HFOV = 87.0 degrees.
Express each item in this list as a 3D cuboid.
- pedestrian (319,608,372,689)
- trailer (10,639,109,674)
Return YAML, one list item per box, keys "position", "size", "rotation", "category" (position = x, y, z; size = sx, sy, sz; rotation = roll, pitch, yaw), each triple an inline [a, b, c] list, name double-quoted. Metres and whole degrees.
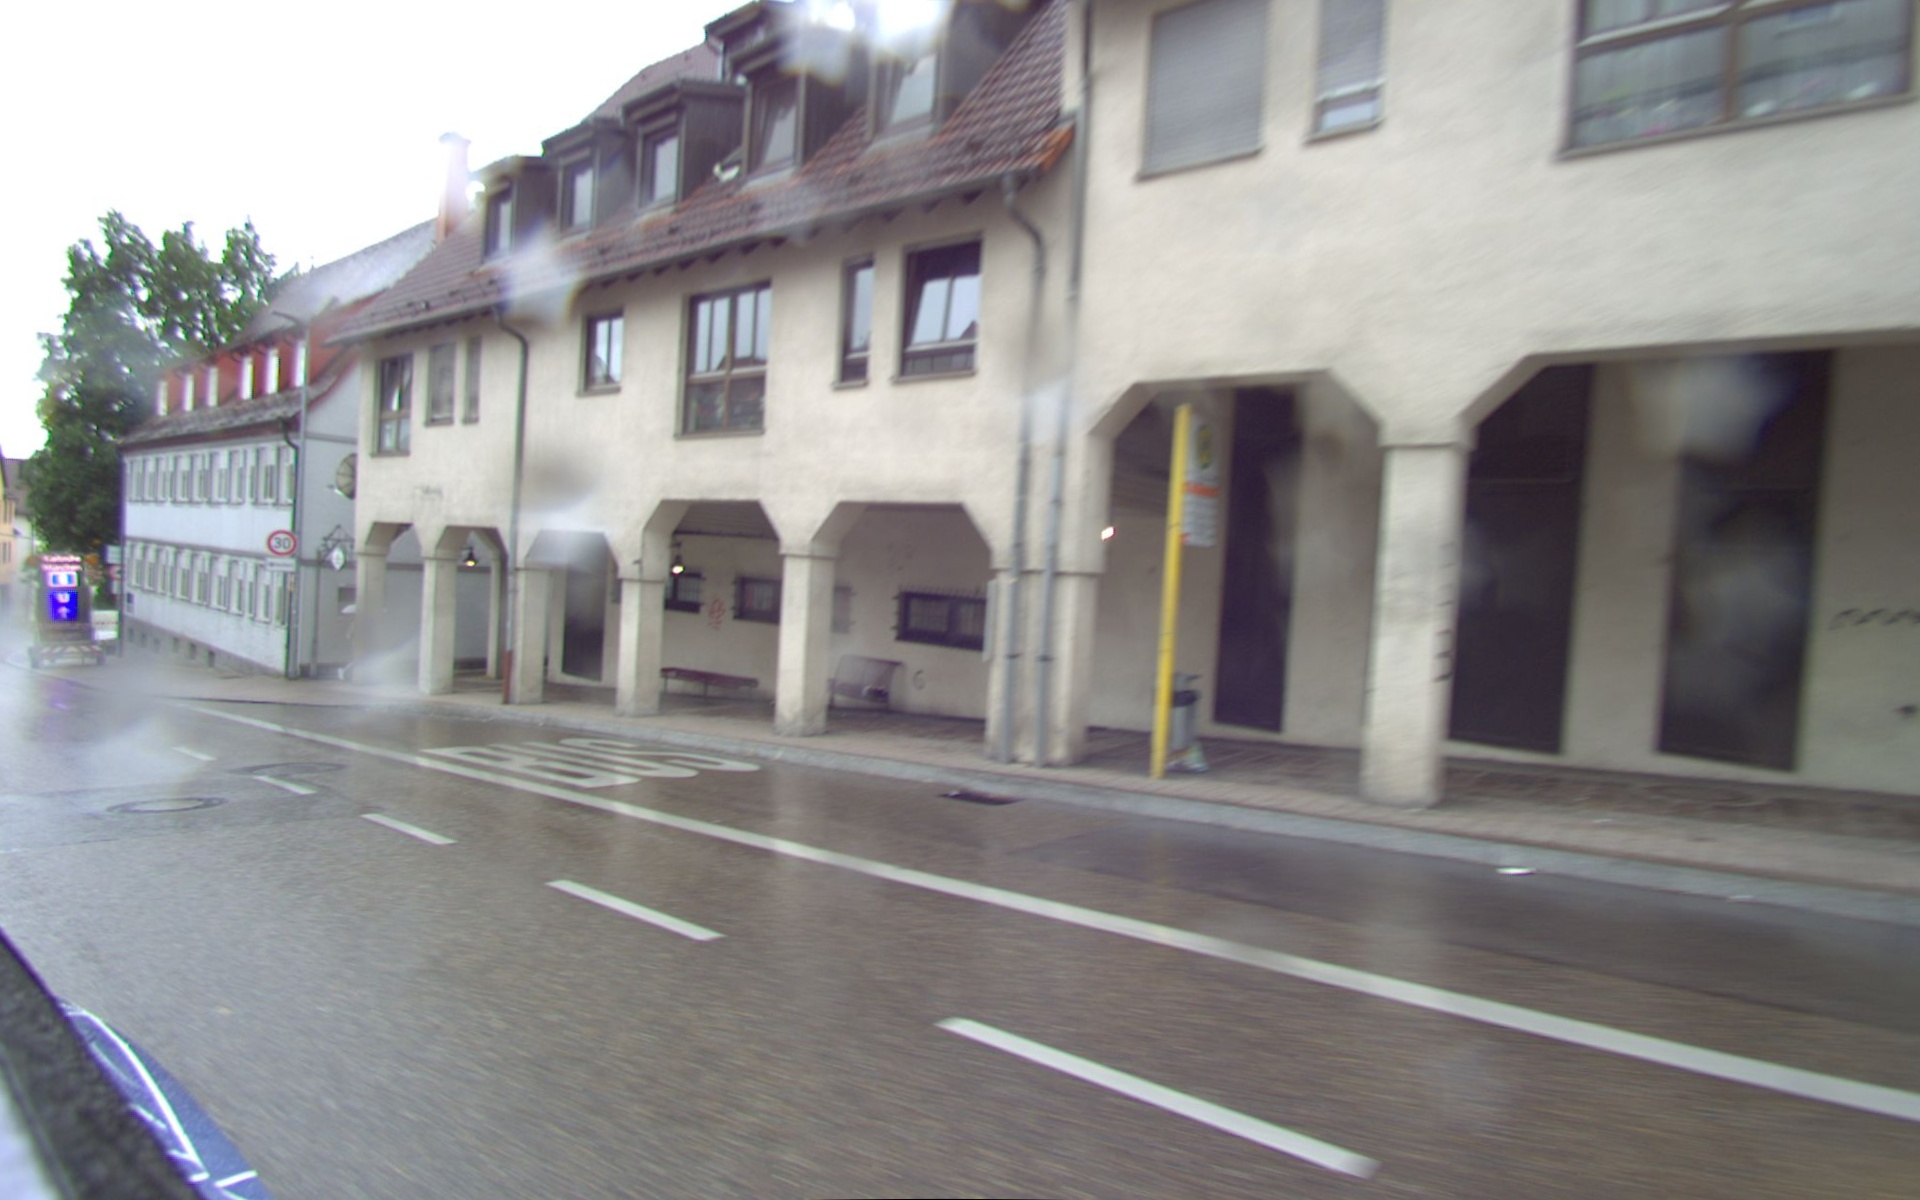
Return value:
- position: [-13.717, 1.073, 22.608]
  size: [0.725, 1.753, 0.690]
  rotation: [-1, 0, 0]
  category: "pedestrian"
- position: [-28.997, 1.786, 32.549]
  size: [4.477, 0.912, 1.972]
  rotation: [-1, -1, 43]
  category: "trailer"
